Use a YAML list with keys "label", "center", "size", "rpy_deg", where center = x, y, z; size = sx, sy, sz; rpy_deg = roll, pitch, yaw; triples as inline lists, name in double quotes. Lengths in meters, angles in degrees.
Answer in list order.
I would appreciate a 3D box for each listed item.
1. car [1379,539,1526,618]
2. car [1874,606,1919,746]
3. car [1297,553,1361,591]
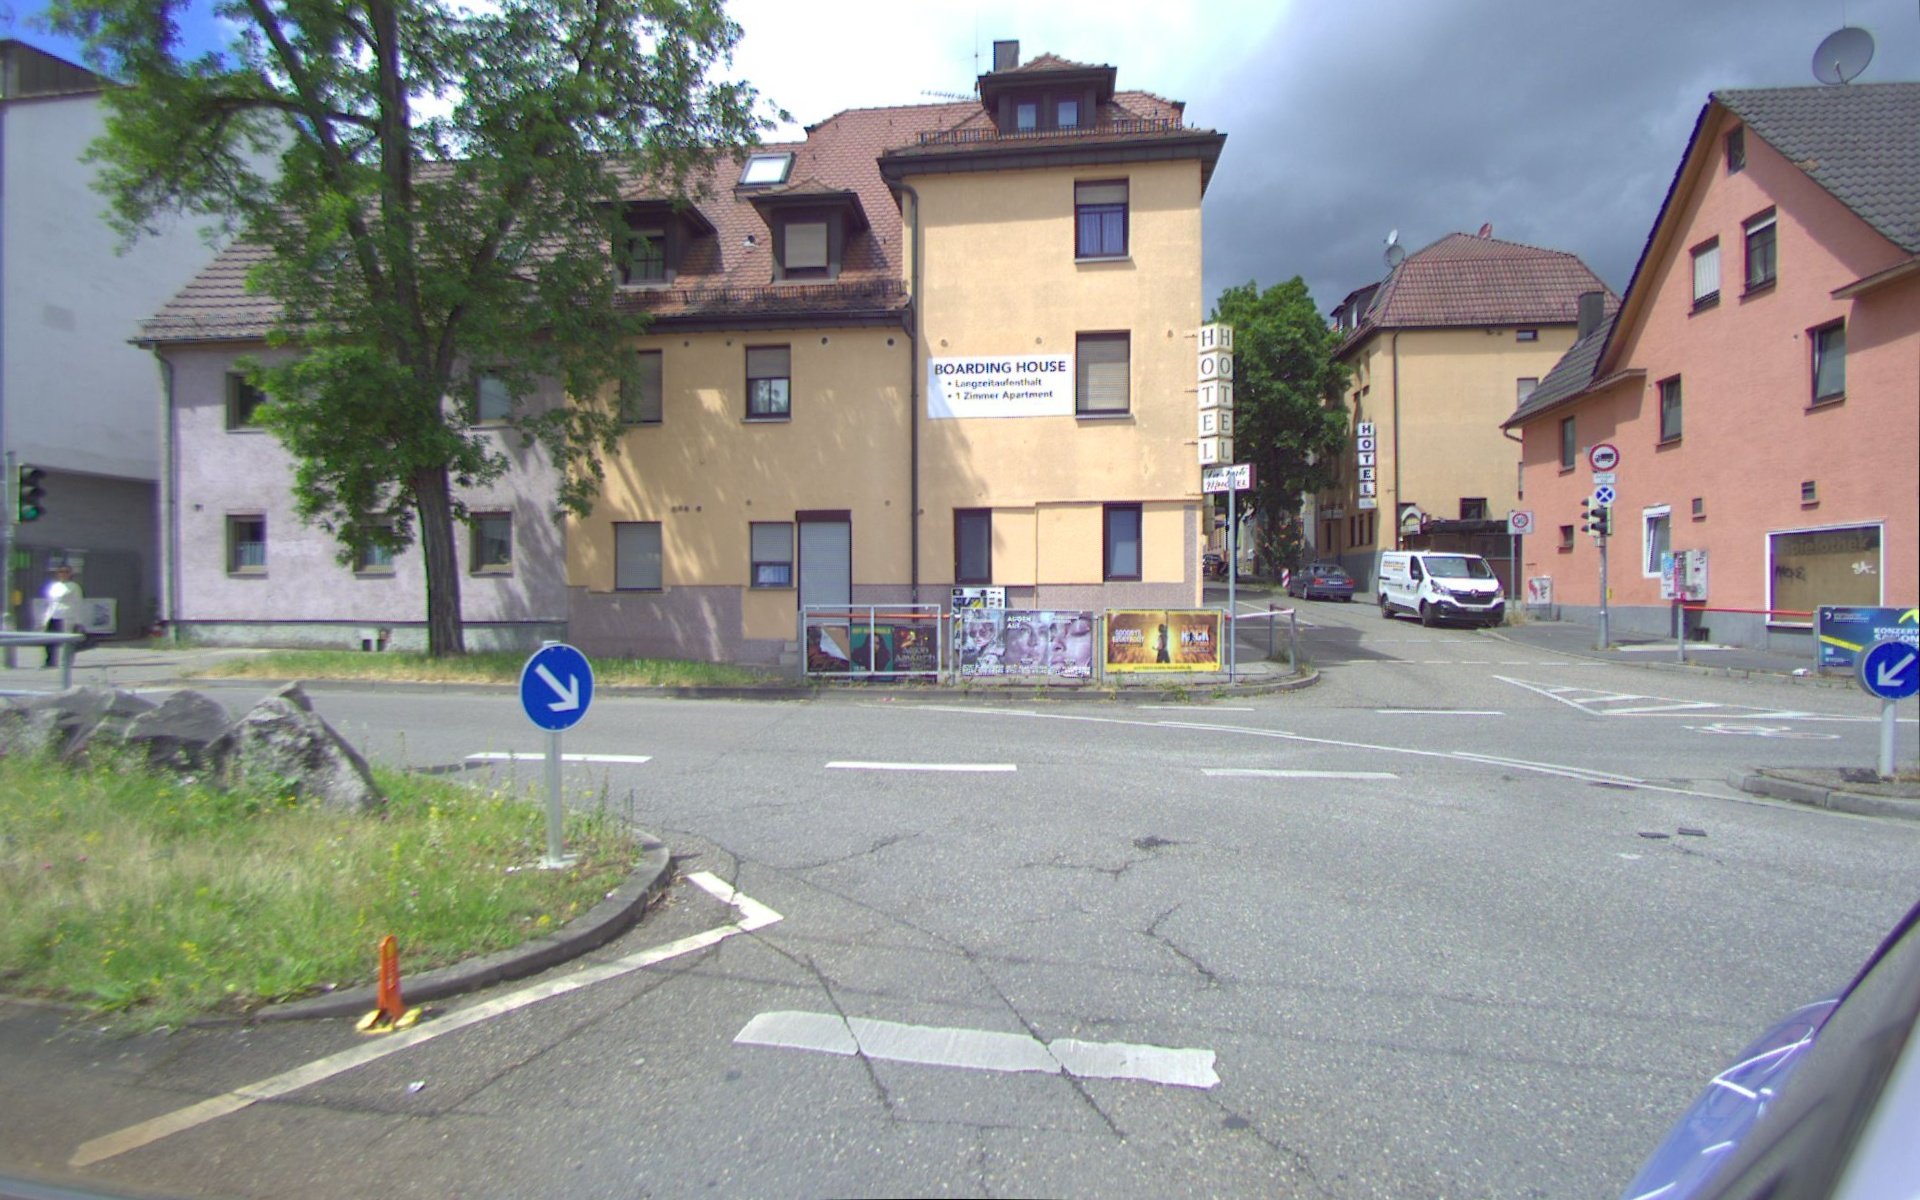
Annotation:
- label: "car"
  center: [13.242, -0.617, 27.582]
  size: [2.044, 1.921, 4.658]
  rpy_deg: [-1, 2, 5]
- label: "car"
  center: [11.945, 0.757, 9.544]
  size: [4.766, 1.388, 1.918]
  rpy_deg: [0, 0, 3]
- label: "car"
  center: [14.038, -1.028, 38.673]
  size: [1.535, 1.388, 3.128]
  rpy_deg: [0, 0, 5]
